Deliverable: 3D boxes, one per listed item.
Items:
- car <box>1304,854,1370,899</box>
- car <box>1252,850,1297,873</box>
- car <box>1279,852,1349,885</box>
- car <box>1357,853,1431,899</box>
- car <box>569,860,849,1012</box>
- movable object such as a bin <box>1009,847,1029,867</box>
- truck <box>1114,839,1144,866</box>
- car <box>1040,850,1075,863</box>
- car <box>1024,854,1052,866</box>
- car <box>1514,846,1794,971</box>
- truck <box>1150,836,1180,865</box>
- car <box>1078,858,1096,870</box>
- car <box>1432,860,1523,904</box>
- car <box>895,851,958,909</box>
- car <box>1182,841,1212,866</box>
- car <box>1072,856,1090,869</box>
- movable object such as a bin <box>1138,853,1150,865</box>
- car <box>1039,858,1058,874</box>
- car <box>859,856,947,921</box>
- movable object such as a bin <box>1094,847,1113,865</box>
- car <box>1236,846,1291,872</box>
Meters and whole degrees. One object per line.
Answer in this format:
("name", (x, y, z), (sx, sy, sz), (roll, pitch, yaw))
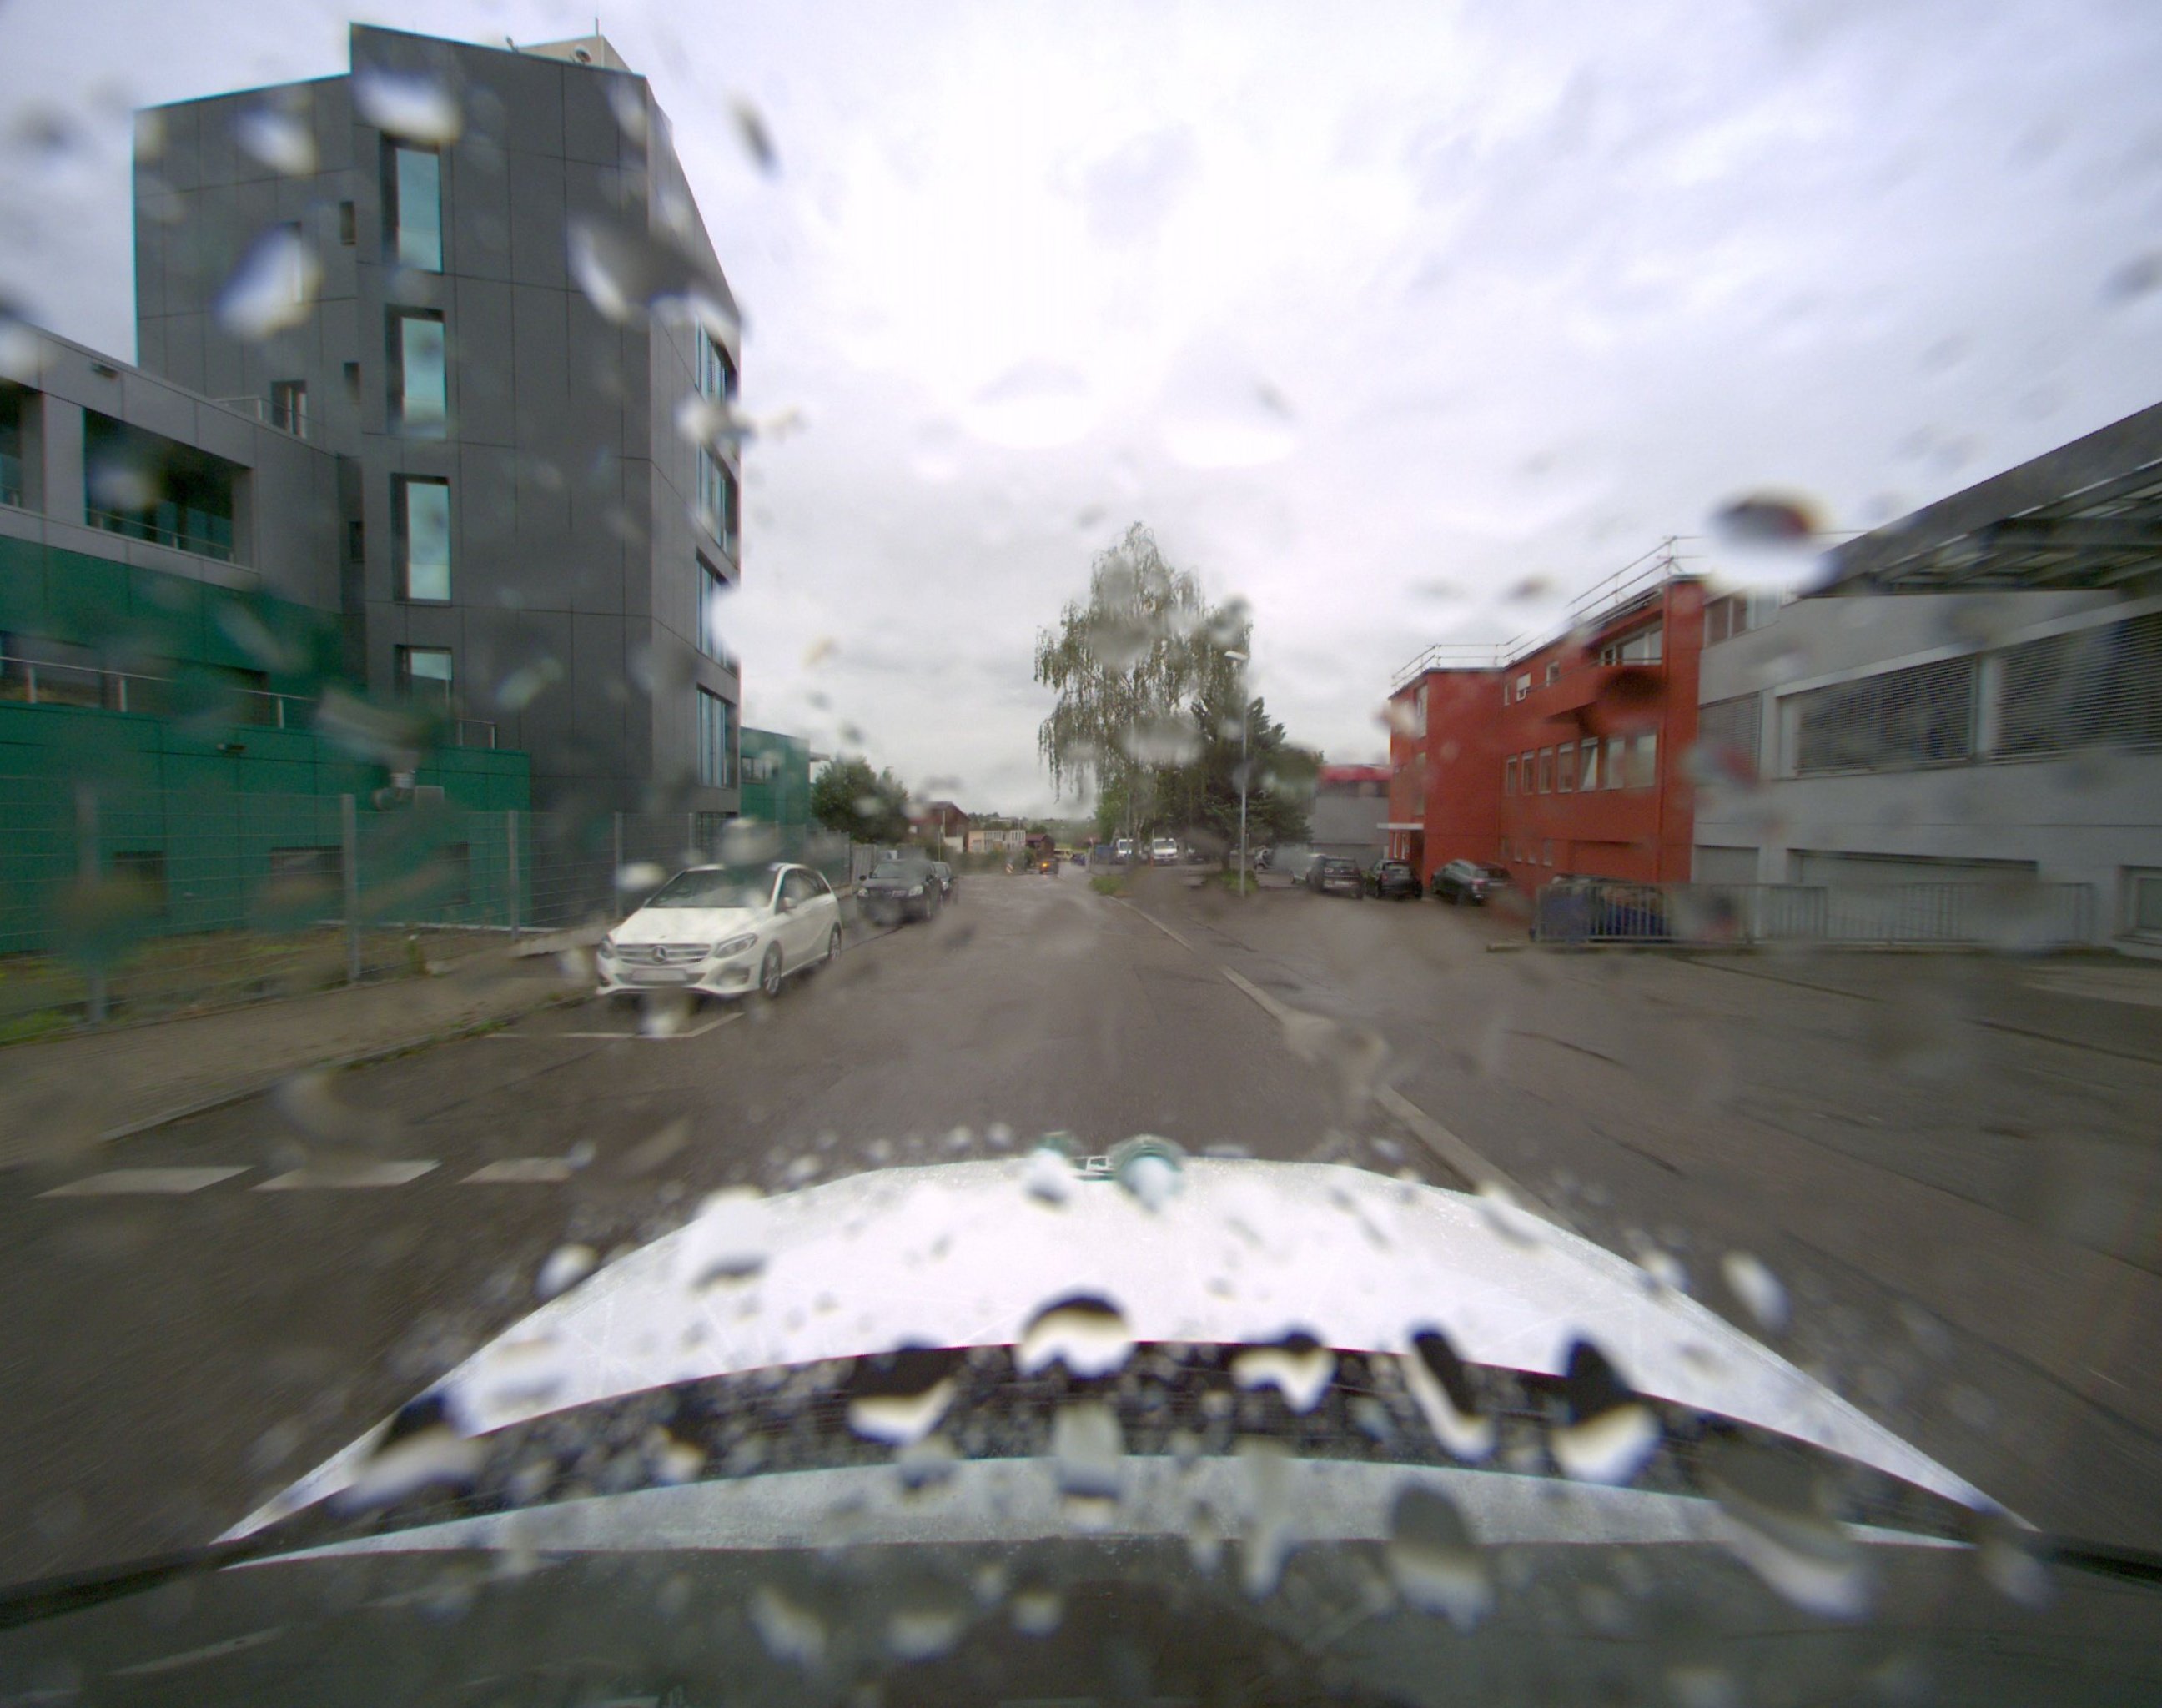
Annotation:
("car", (9.969, 0.814, 31.995), (1.983, 1.579, 4.526), (1, 0, 11))
("car", (12.783, 0.475, 53.922), (2.697, 1.446, 1.681), (-1, -1, 7))
("car", (11.030, 0.663, 38.921), (1.900, 1.470, 4.324), (-1, 0, -3))
("car", (12.331, 0.835, 32.323), (1.977, 1.678, 4.525), (0, 0, 11))
("car", (-4.407, 0.852, 10.459), (1.730, 1.536, 4.247), (0, 0, -2))
("movable object such as a bin", (-8.224, 0.441, 108.662), (1.721, 2.556, 3.350), (-1, -1, 11))
("truck", (4.009, -0.090, 68.543), (2.099, 2.214, 5.650), (0, -1, -1))
("car", (-4.359, 0.462, 149.997), (5.962, 2.415, 2.474), (-1, -1, 17))
("car", (-7.011, 0.962, 132.087), (4.353, 1.905, 2.012), (-1, -1, 39))
("car", (9.625, 0.865, 13.932), (3.417, 1.499, 1.622), (8, 1, 7))
("truck", (6.988, -0.251, 68.130), (2.234, 2.342, 4.839), (-1, -1, 2))
("car", (0.811, 1.429, 114.568), (1.951, 1.610, 4.433), (0, -1, -8))
("car", (15.006, 1.004, 31.070), (1.957, 1.449, 4.524), (1, 0, 10))
("car", (-5.052, 0.814, 27.078), (1.737, 1.797, 3.950), (0, -1, -6))
("car", (9.695, -0.011, 68.294), (2.047, 2.014, 4.943), (0, -1, 3))
("car", (0.006, 1.261, 120.928), (2.072, 1.835, 4.459), (0, -1, -7))
("movable object such as a bin", (5.664, 0.442, 73.306), (1.044, 1.042, 0.885), (0, -1, 6))
("car", (-3.213, 1.165, 80.804), (1.752, 1.534, 3.994), (0, -1, -4))
("car", (-4.658, 0.852, 21.856), (1.628, 1.558, 4.079), (0, 0, -3))
("movable object such as a bin", (1.939, 0.168, 70.968), (1.306, 1.500, 1.853), (0, -1, -9))
("car", (13.849, 0.380, 61.856), (3.901, 1.738, 1.863), (-3, 1, 8))
